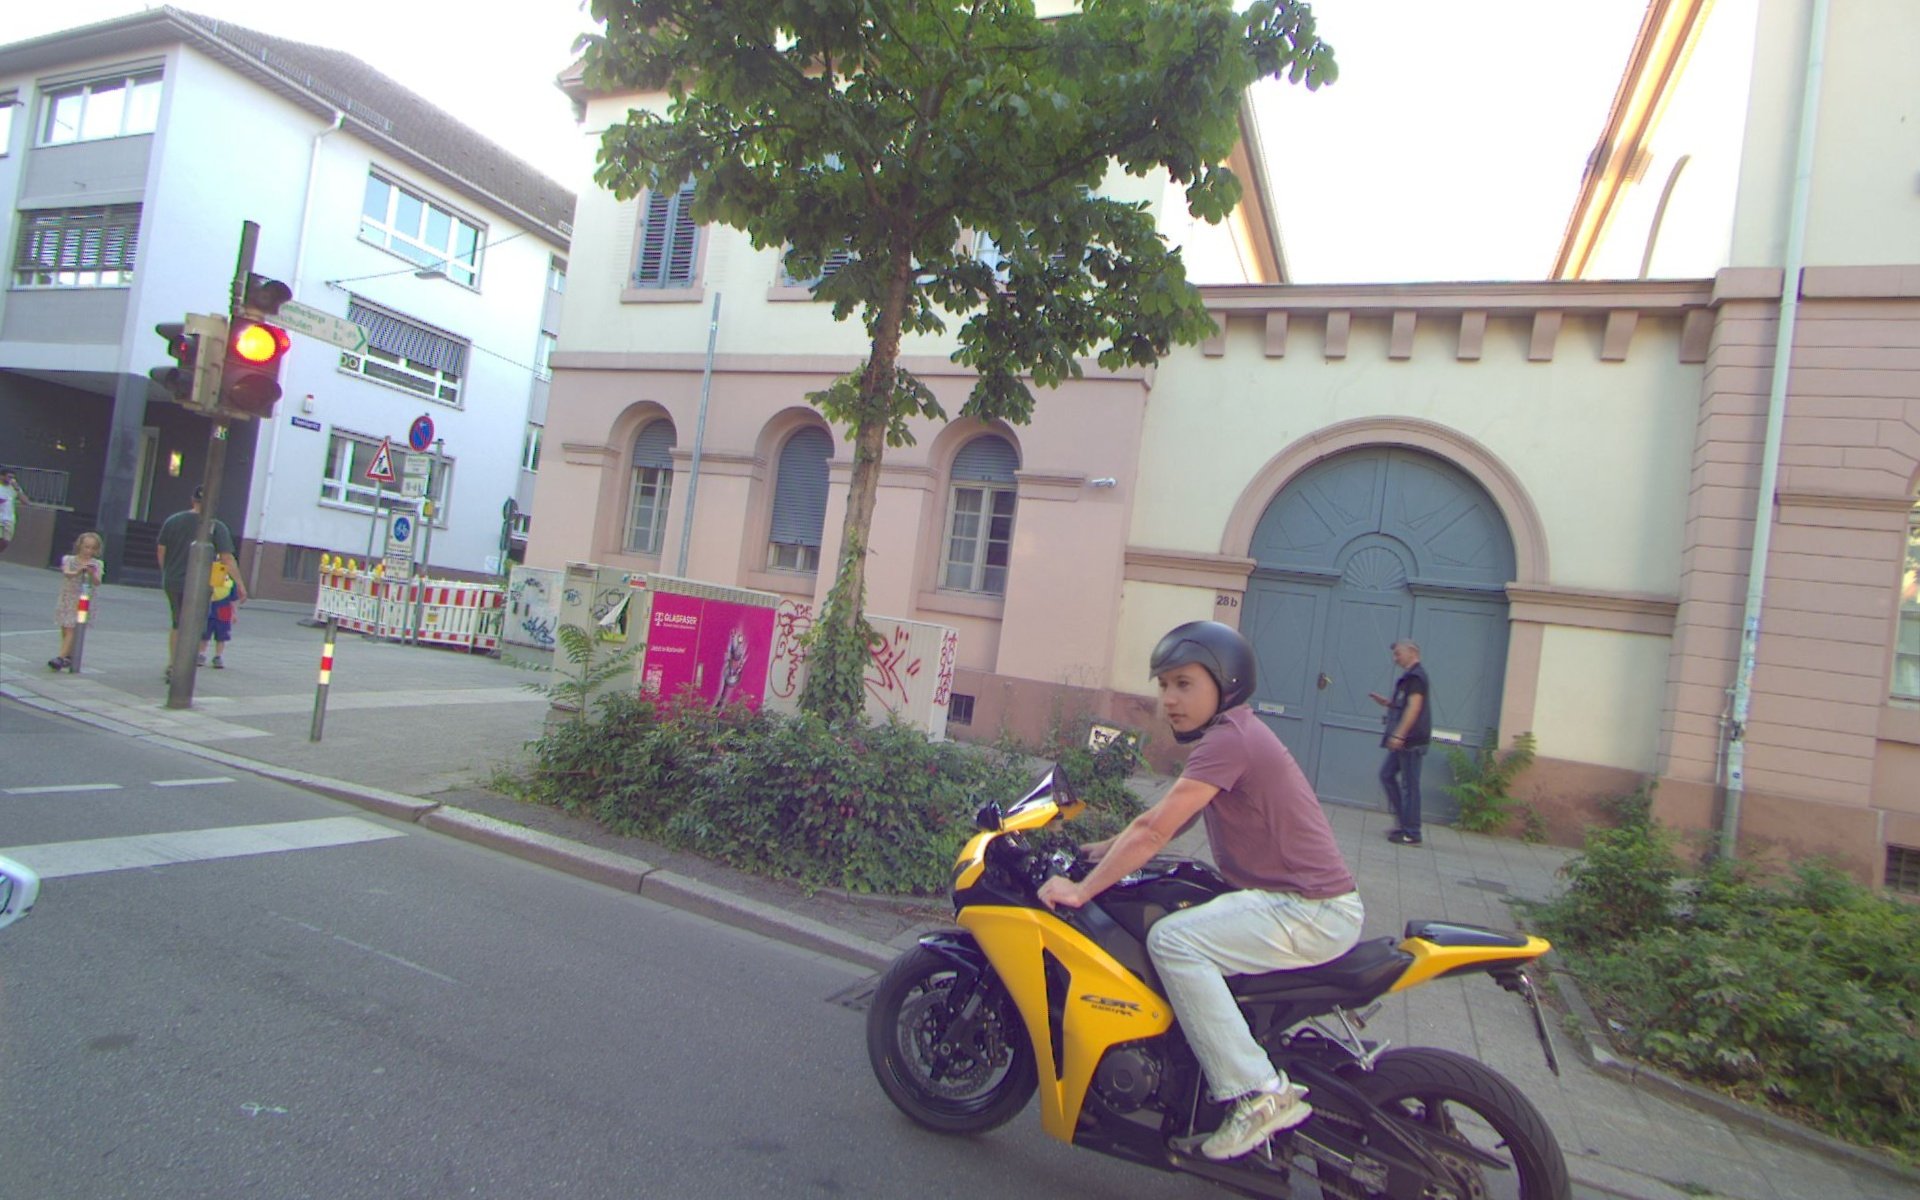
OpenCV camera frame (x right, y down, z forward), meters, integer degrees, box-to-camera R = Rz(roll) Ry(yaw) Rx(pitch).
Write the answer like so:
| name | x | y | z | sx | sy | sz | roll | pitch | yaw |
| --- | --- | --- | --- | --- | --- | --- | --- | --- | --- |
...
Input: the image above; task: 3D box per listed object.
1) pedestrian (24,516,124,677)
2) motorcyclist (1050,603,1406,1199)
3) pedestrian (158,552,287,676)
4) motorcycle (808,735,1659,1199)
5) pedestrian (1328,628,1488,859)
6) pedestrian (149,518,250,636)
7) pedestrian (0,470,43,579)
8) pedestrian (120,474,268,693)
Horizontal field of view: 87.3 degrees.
| name | x | y | z | sx | sy | sz | roll | pitch | yaw |
| --- | --- | --- | --- | --- | --- | --- | --- | --- | --- |
| pedestrian | -7.932 | -0.032 | 9.009 | 0.503 | 1.351 | 0.534 | 9 | -2 | -43 |
| motorcyclist | 0.784 | 0.802 | 2.875 | 0.686 | 1.435 | 0.794 | 7 | -3 | 21 |
| pedestrian | -7.553 | 0.152 | 10.315 | 0.821 | 1.134 | 0.567 | 8 | 0 | 15 |
| motorcycle | 0.682 | 1.136 | 2.887 | 1.930 | 1.173 | 0.794 | 7 | -3 | 21 |
| pedestrian | 4.056 | 1.256 | 9.190 | 1.063 | 1.862 | 0.800 | 8 | 1 | 22 |
| pedestrian | -10.726 | -0.319 | 14.227 | 0.766 | 1.518 | 0.798 | 9 | -1 | -22 |
| pedestrian | -17.414 | -1.399 | 18.172 | 0.926 | 1.862 | 0.769 | 8 | -1 | 25 |
| pedestrian | -7.003 | -0.153 | 9.252 | 0.786 | 1.837 | 0.883 | 8 | 1 | -31 |
